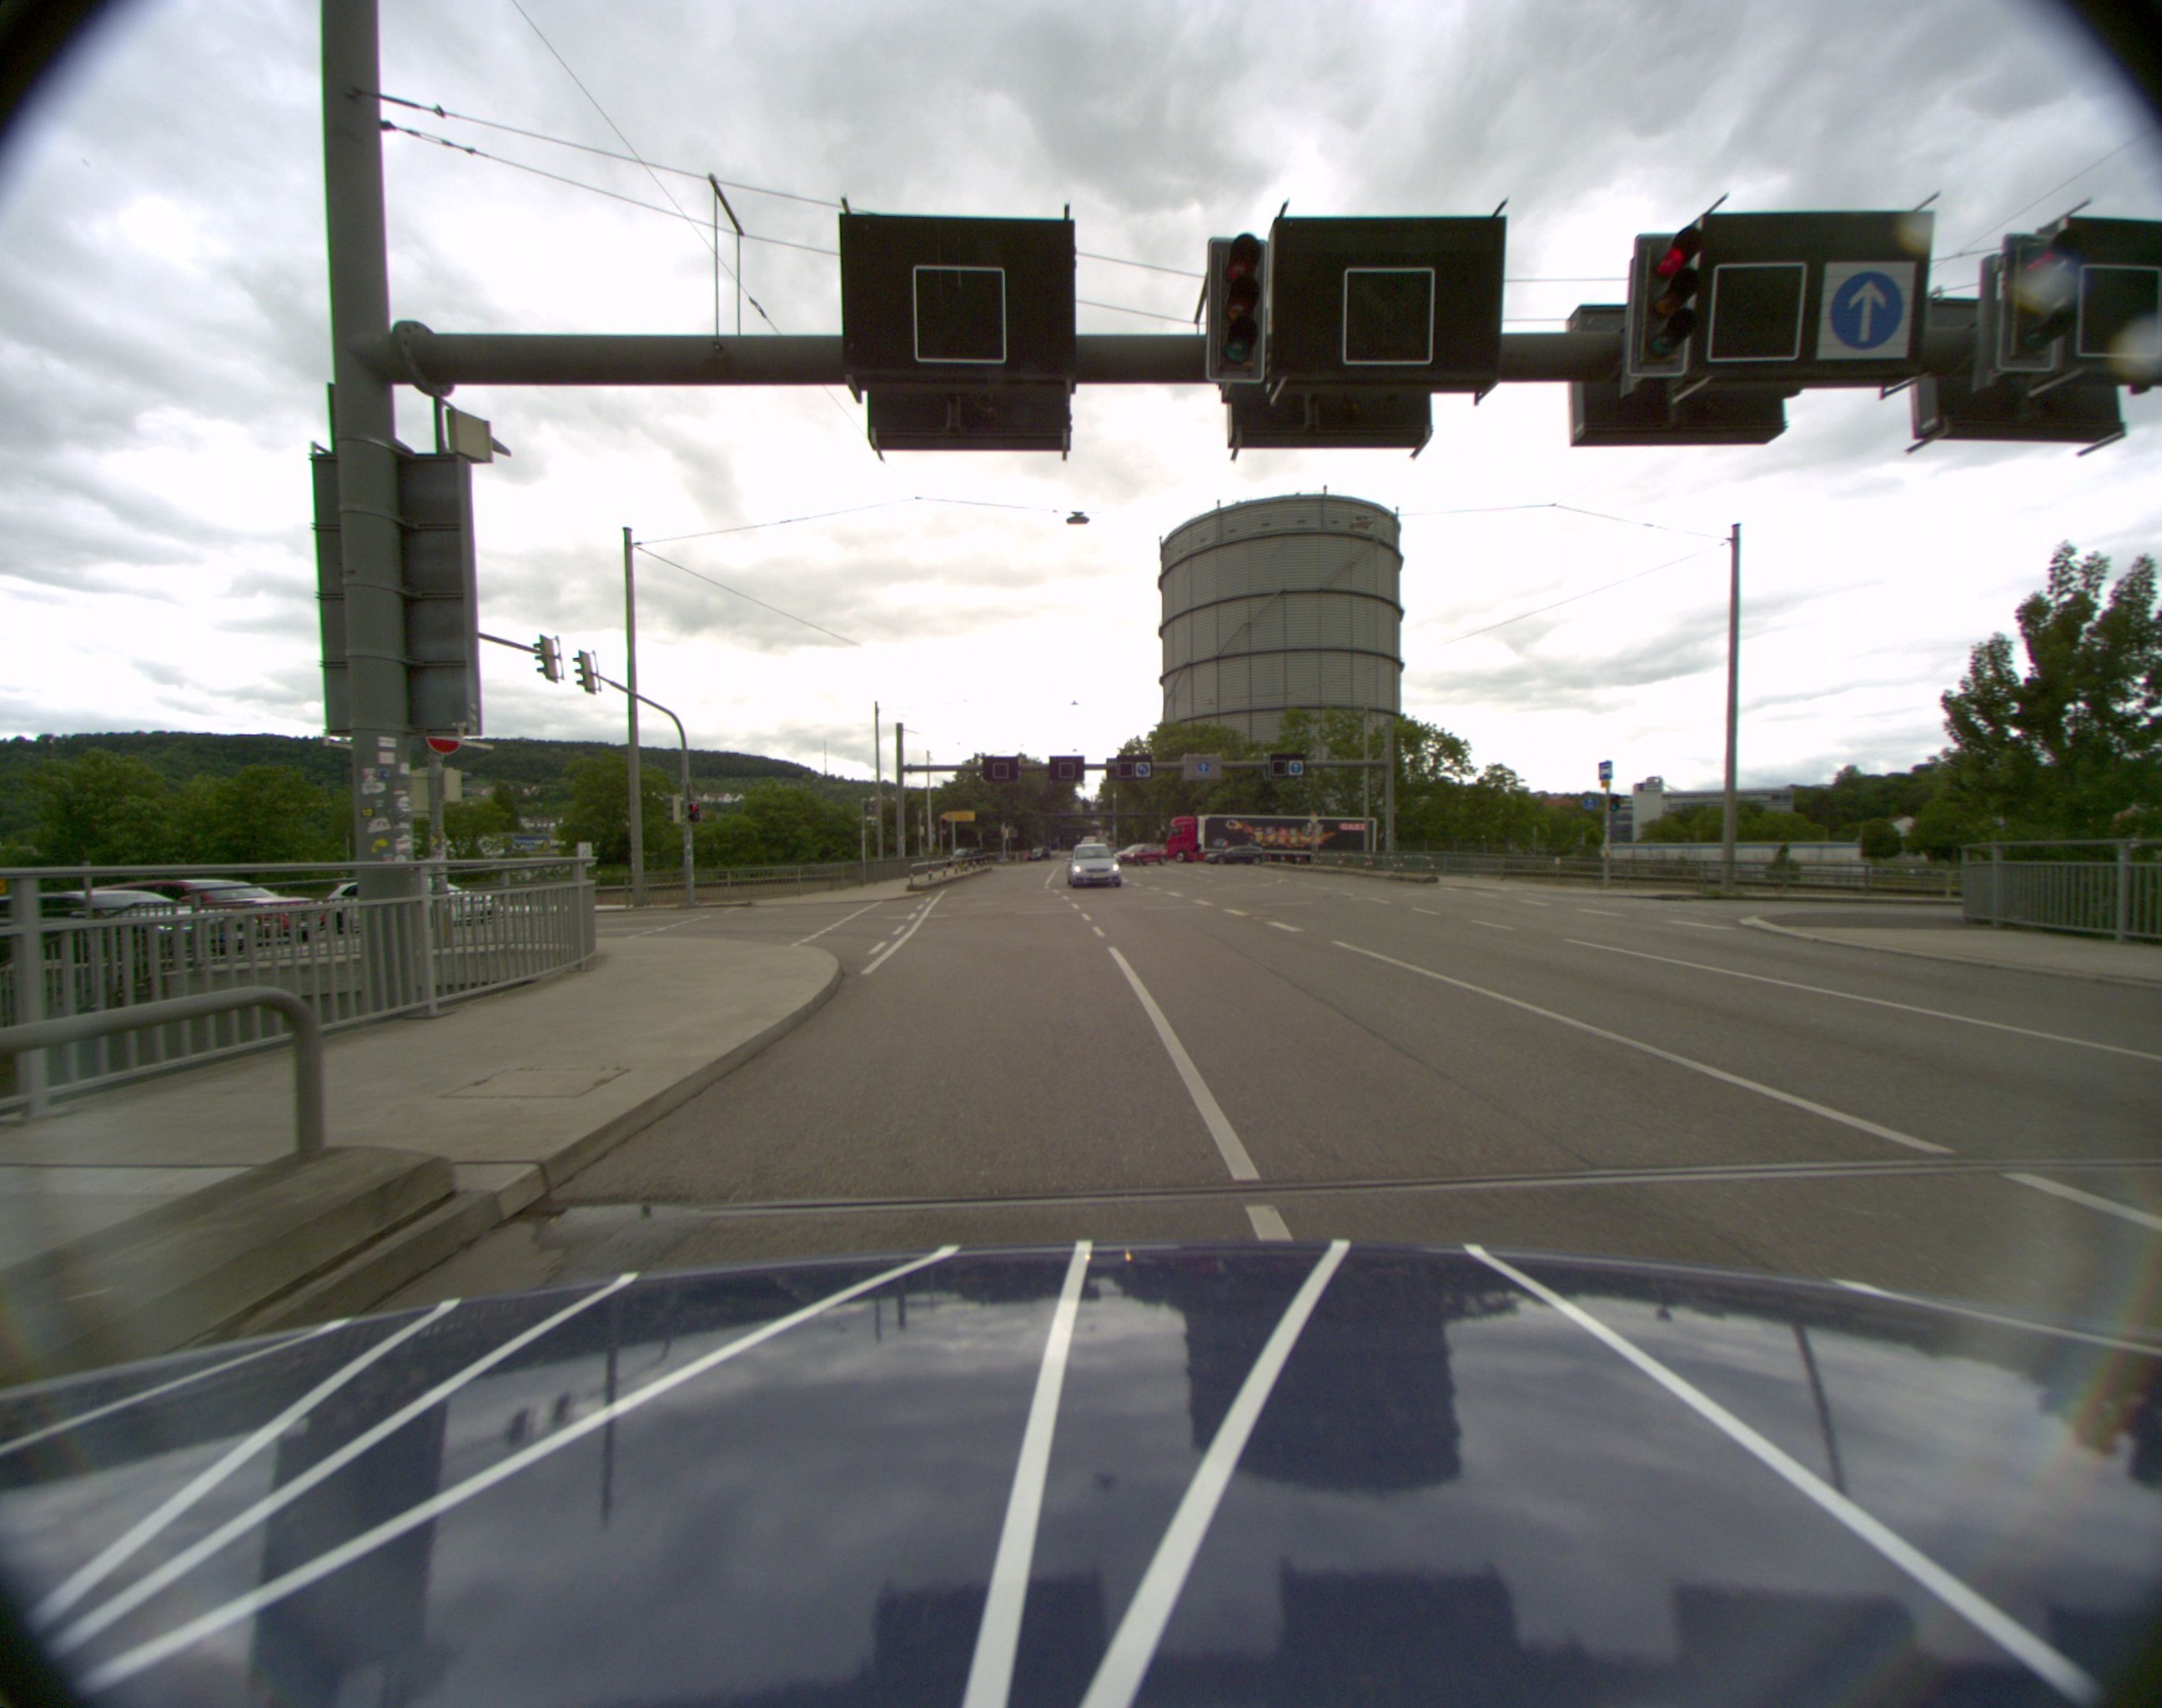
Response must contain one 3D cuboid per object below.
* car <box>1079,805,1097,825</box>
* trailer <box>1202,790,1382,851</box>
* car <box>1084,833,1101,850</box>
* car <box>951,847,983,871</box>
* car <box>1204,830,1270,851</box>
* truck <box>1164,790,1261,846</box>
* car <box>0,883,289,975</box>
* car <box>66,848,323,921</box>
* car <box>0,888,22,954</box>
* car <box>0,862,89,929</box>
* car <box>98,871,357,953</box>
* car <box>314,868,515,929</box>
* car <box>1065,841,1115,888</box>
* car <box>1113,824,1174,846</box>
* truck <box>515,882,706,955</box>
[{"bbox_3d":[0.918,-5.259,102.904,2.331,2.510,4.946,1,2,0],"label":"car"},{"bbox_3d":[16.945,-2.751,62.257,13.760,4.297,3.673,3,2,9],"label":"trailer"},{"bbox_3d":[1.379,-1.482,92.040,1.933,1.987,4.451,1,1,0],"label":"car"},{"bbox_3d":[-10.763,0.439,72.282,2.331,1.906,4.944,0,4,0],"label":"car"},{"bbox_3d":[11.722,-1.024,57.129,4.469,1.412,1.695,1,2,-10],"label":"car"},{"bbox_3d":[10.992,-3.004,63.520,7.217,4.297,3.677,3,2,21],"label":"truck"},{"bbox_3d":[-18.900,1.450,15.146,4.151,1.413,1.694,-3,4,-3],"label":"car"},{"bbox_3d":[-23.744,0.777,20.510,4.340,1.611,1.998,-2,4,-1],"label":"car"},{"bbox_3d":[-27.332,1.691,17.356,3.621,1.531,1.694,-3,3,-2],"label":"car"},{"bbox_3d":[-30.541,1.196,20.377,4.959,1.611,1.998,-2,4,-1],"label":"car"},{"bbox_3d":[-20.189,1.337,18.122,4.006,1.532,1.694,-3,4,-2],"label":"car"},{"bbox_3d":[-18.164,1.187,20.855,3.763,1.306,1.789,-3,4,-2],"label":"car"},{"bbox_3d":[0.290,0.353,29.448,1.747,1.595,3.680,-2,2,-2],"label":"car"},{"bbox_3d":[4.360,-1.325,52.440,4.476,1.412,1.692,-2,3,-45],"label":"car"},{"bbox_3d":[-29.871,4.057,48.629,10.019,4.163,2.899,0,5,-3],"label":"truck"}]
